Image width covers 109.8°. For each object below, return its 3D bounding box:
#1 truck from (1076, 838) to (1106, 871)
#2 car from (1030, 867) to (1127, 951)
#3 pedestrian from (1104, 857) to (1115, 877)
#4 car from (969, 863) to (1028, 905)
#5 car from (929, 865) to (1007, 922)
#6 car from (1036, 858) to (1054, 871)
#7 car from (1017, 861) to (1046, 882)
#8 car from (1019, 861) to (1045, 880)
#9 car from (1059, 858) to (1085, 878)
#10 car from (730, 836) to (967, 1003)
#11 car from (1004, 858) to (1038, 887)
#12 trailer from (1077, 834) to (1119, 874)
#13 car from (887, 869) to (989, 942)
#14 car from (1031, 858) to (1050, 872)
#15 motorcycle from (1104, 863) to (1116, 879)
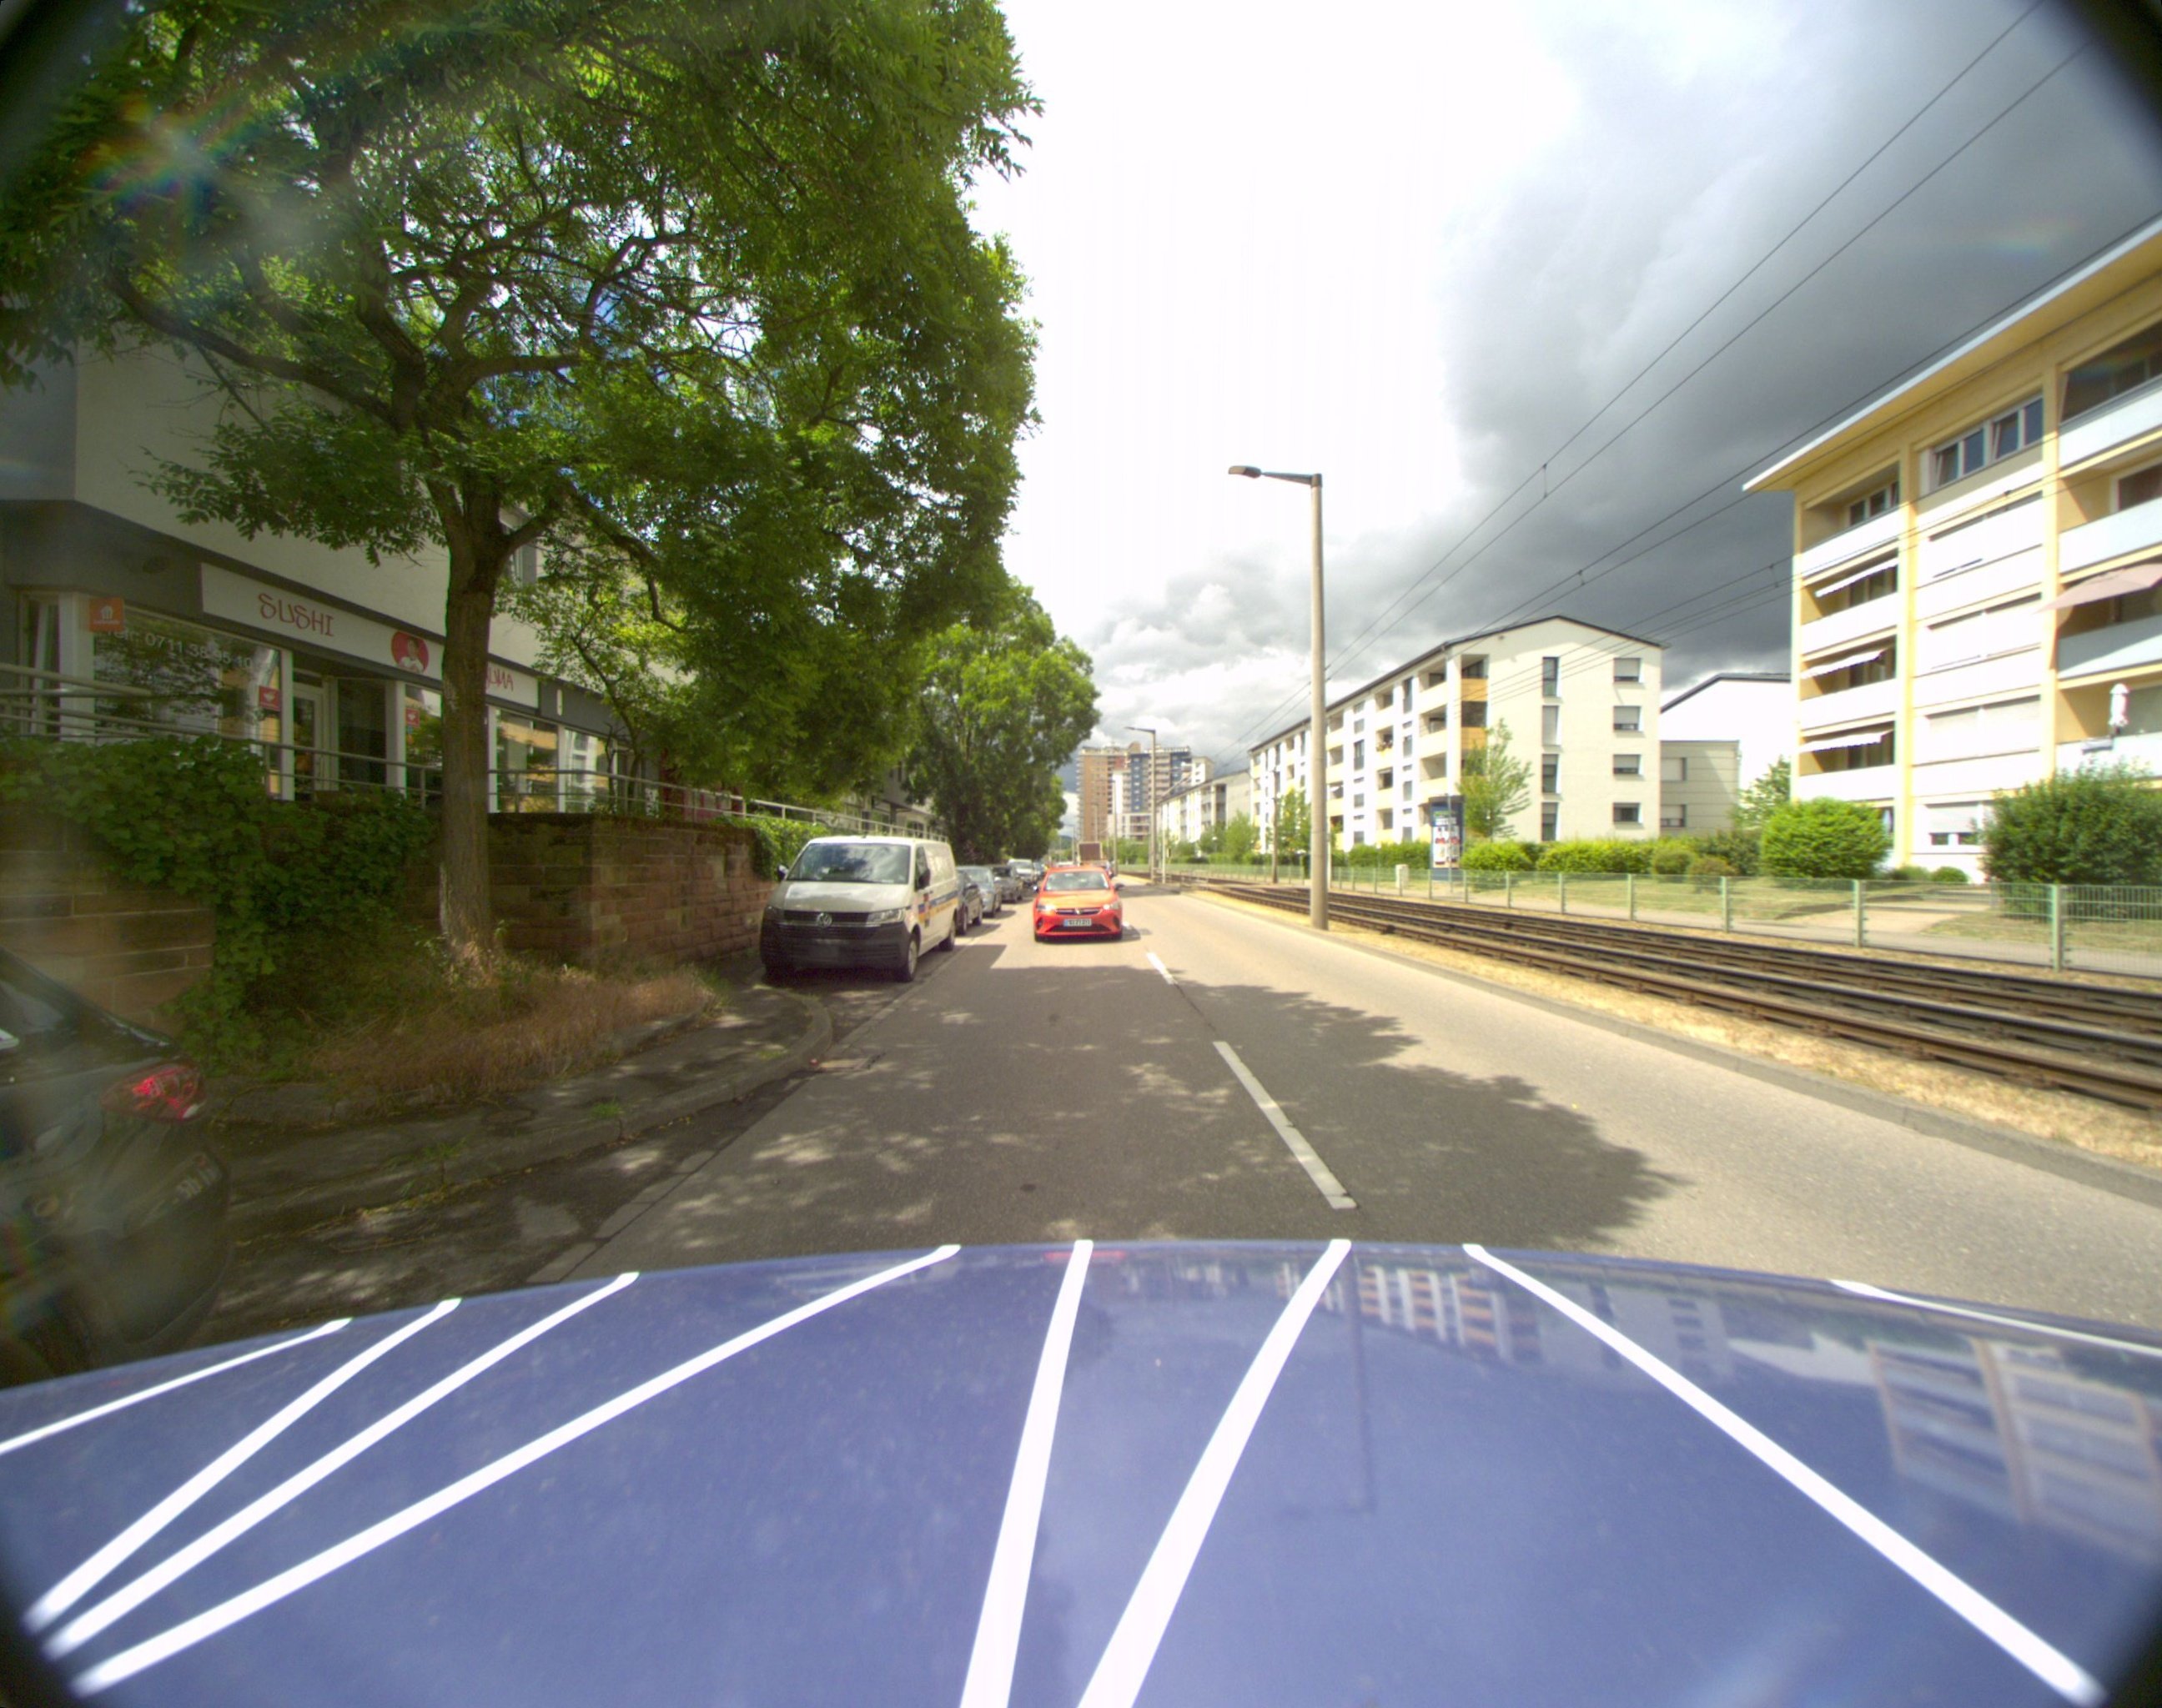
[{"bbox_3d":[1.056,0.035,82.775,2.853,3.428,4.414,-2,0,-3],"label":"truck"},{"bbox_3d":[-0.005,1.035,15.898,1.723,1.434,4.000,-2,0,1],"label":"car"},{"bbox_3d":[2.175,0.979,57.480,0.737,1.408,0.927,-2,0,-1],"label":"pedestrian"},{"bbox_3d":[-3.129,1.109,29.486,1.784,1.420,4.147,-1,0,0],"label":"car"},{"bbox_3d":[-3.241,1.102,22.527,1.785,1.420,4.144,2,0,-2],"label":"car"},{"bbox_3d":[-4.004,1.143,85.976,1.784,1.420,4.147,-1,0,0],"label":"car"},{"bbox_3d":[-3.546,1.225,54.791,1.784,1.420,4.147,-1,0,0],"label":"car"},{"bbox_3d":[-3.924,1.289,61.738,1.784,1.420,4.147,-1,0,0],"label":"car"},{"bbox_3d":[-0.788,1.133,62.488,1.927,1.543,3.999,-2,0,-2],"label":"car"},{"bbox_3d":[-3.118,0.780,11.470,1.978,1.958,5.013,-1,0,0],"label":"car"},{"bbox_3d":[-3.498,1.049,44.832,1.819,1.643,4.146,-1,0,-2],"label":"car"},{"bbox_3d":[1.475,0.001,74.947,2.876,3.428,14.611,-2,0,-3],"label":"trailer"},{"bbox_3d":[-3.158,1.091,17.411,1.578,1.420,3.735,-1,0,0],"label":"car"},{"bbox_3d":[-4.174,1.128,78.844,1.784,1.420,4.147,-1,0,0],"label":"car"},{"bbox_3d":[2.190,1.266,57.434,0.783,1.181,1.869,-1,0,-1],"label":"motorcycle"}]
